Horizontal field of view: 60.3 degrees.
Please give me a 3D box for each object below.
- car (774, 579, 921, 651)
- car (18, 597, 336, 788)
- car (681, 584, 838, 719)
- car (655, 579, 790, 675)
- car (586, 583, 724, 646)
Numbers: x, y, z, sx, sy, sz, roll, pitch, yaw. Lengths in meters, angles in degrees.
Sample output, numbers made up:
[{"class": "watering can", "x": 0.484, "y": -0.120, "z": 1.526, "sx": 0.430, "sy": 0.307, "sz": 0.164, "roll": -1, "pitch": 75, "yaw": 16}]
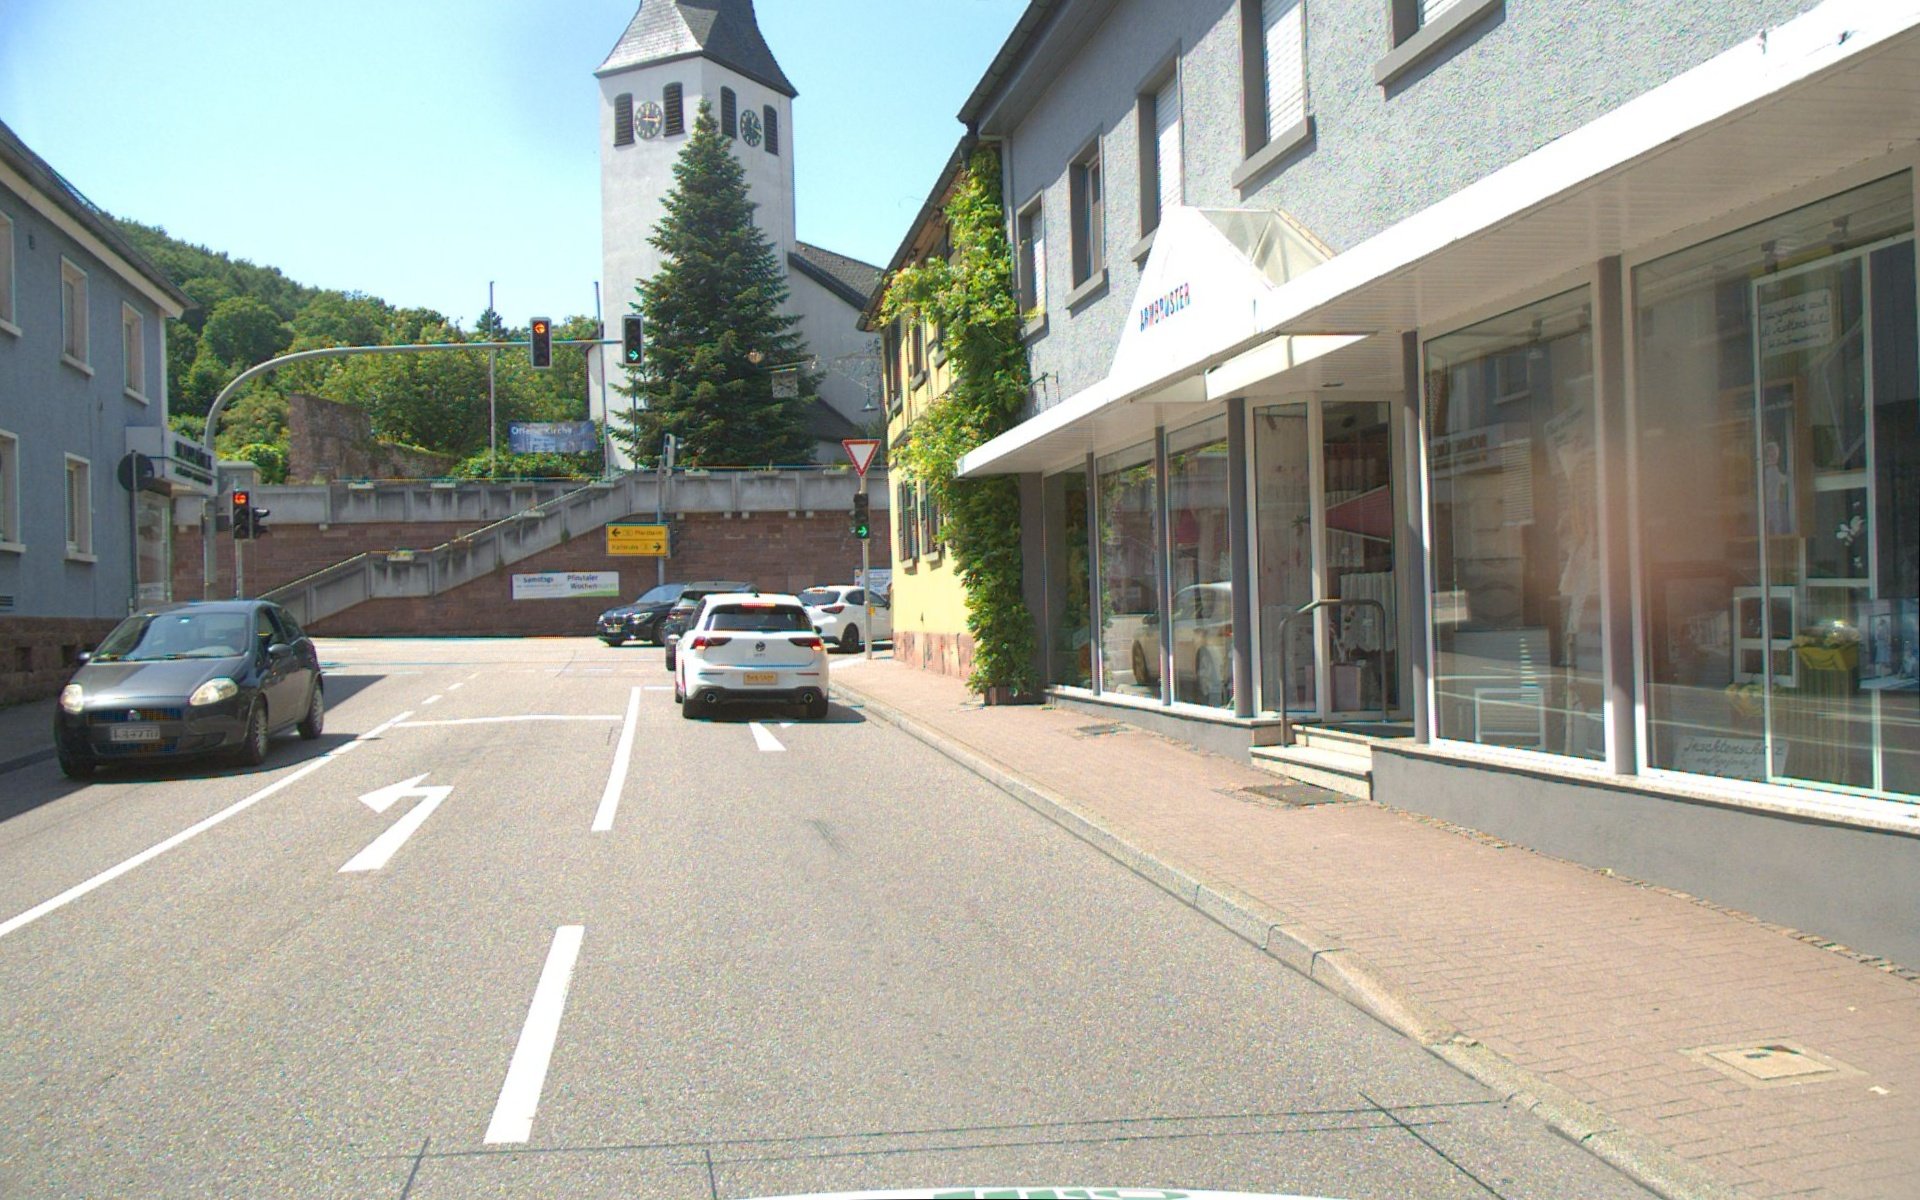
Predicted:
[{"class": "car", "x": -2.590, "y": 0.309, "z": 38.958, "sx": 1.736, "sy": 1.522, "sz": 3.985, "roll": 0, "pitch": 2, "yaw": 25}, {"class": "car", "x": -7.278, "y": 0.766, "z": 15.783, "sx": 1.686, "sy": 1.447, "sz": 3.812, "roll": -3, "pitch": 1, "yaw": -9}, {"class": "car", "x": -2.591, "y": 0.583, "z": 20.723, "sx": 1.750, "sy": 1.484, "sz": 3.854, "roll": -1, "pitch": 0, "yaw": -10}, {"class": "car", "x": -4.472, "y": 0.448, "z": 31.727, "sx": 1.909, "sy": 1.610, "sz": 4.327, "roll": -1, "pitch": 2, "yaw": 0}, {"class": "car", "x": -7.788, "y": 0.337, "z": 42.686, "sx": 1.758, "sy": 1.513, "sz": 4.801, "roll": 0, "pitch": 0, "yaw": 13}]
